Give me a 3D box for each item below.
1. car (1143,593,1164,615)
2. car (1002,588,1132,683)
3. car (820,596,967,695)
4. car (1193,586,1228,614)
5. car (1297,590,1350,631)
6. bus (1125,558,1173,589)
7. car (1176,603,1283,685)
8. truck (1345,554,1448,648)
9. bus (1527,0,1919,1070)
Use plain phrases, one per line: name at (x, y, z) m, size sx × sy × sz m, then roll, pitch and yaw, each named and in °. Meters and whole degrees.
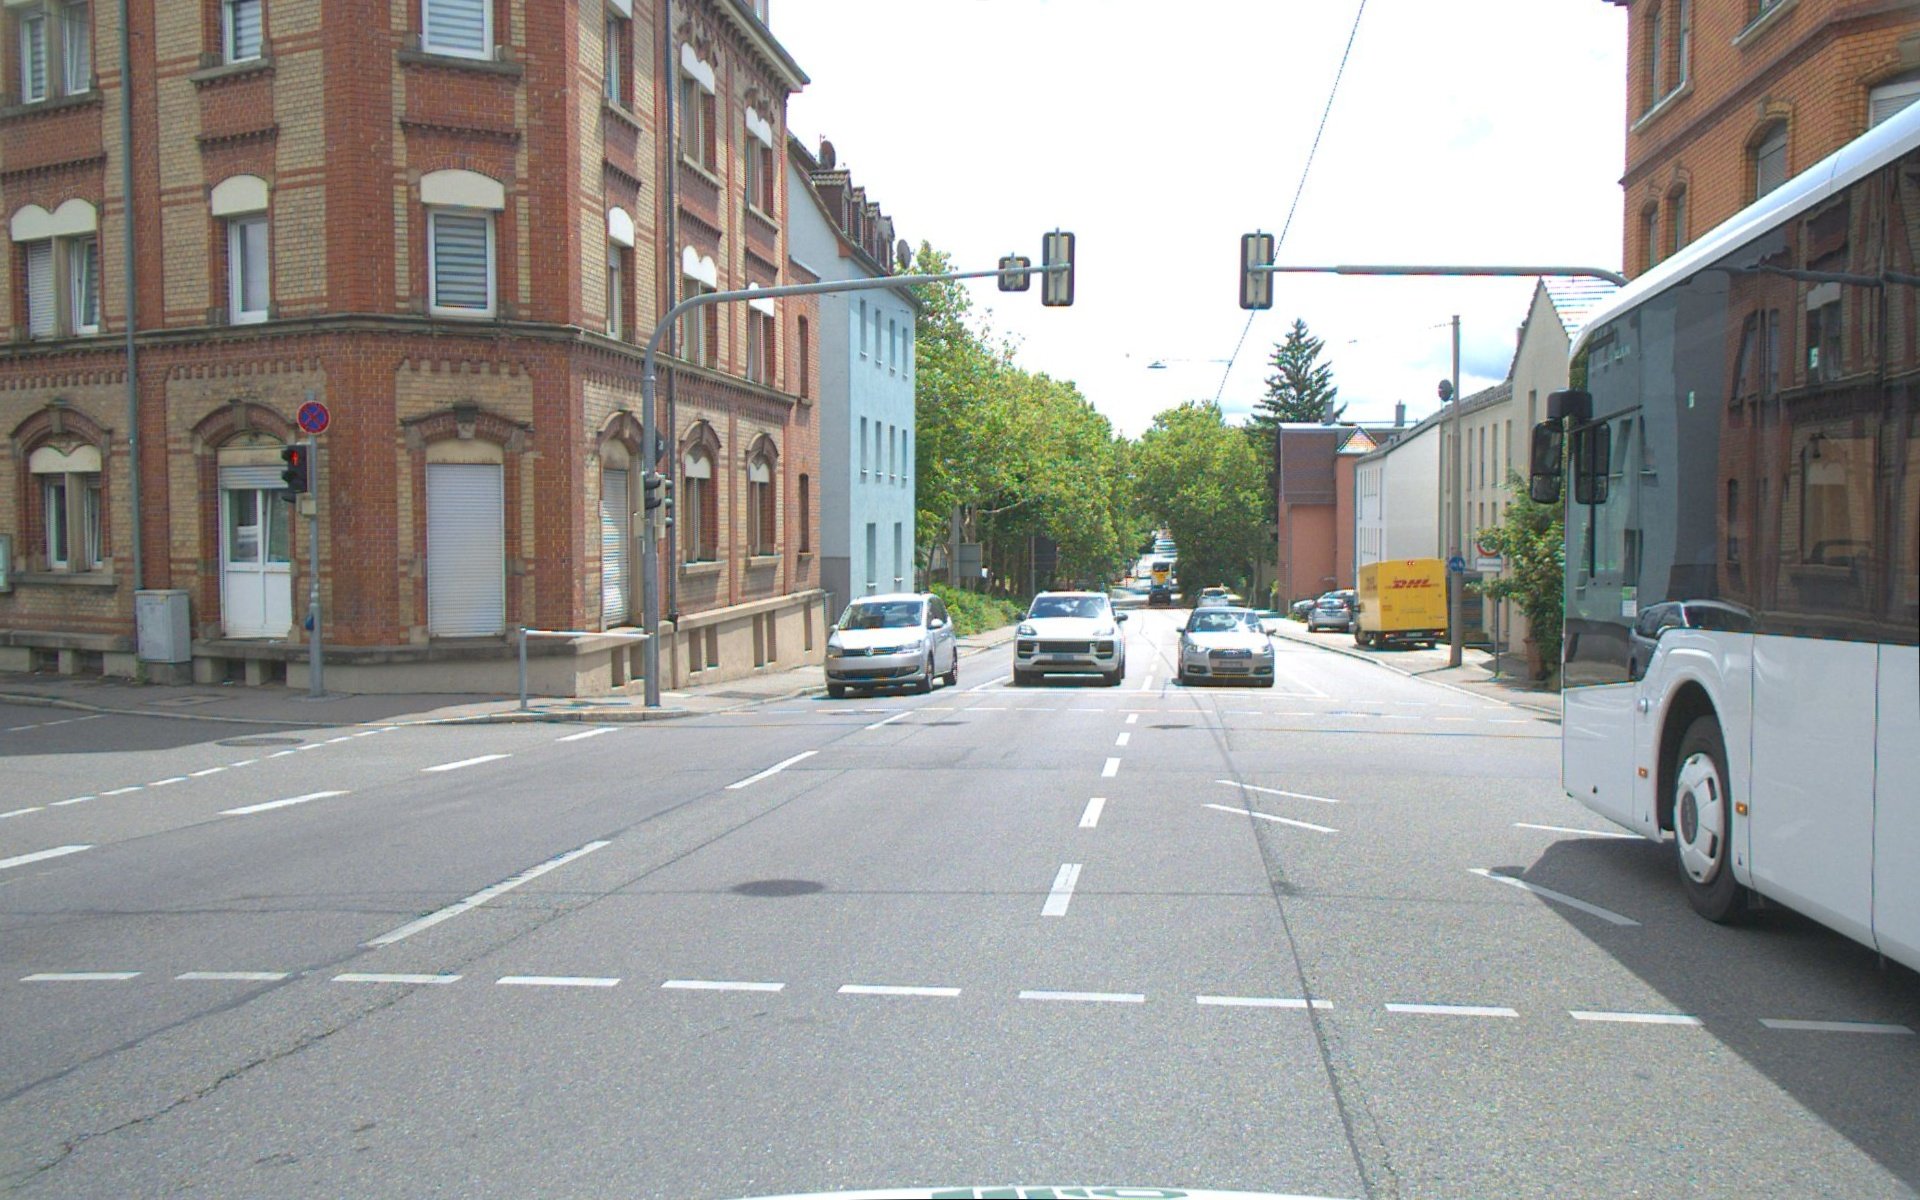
car at (16.531, 0.344, 141.272) m, size 1.781 × 1.816 × 4.003 m, roll 0°, pitch 0°, yaw 7°
car at (2.108, 0.615, 31.296) m, size 2.160 × 1.641 × 4.550 m, roll 0°, pitch 0°, yaw 7°
car at (-1.076, 0.734, 29.069) m, size 1.894 × 1.590 × 4.392 m, roll 0°, pitch 0°, yaw 7°
car at (17.152, -0.002, 113.577) m, size 2.048 × 1.862 × 4.145 m, roll 0°, pitch 0°, yaw 4°
car at (16.844, 0.461, 76.763) m, size 1.870 × 1.848 × 4.002 m, roll 0°, pitch 0°, yaw 5°
bus at (23.053, -3.218, 202.480) m, size 3.238 × 3.694 × 11.226 m, roll -1°, pitch 0°, yaw -7°
car at (5.043, 0.784, 31.389) m, size 1.825 × 1.391 × 4.550 m, roll 0°, pitch 0°, yaw 7°
truck at (14.683, 0.029, 56.042) m, size 2.487 × 2.964 × 6.577 m, roll 1°, pitch 0°, yaw 7°
bus at (4.312, -0.312, 4.254) m, size 2.843 × 3.571 × 12.497 m, roll 1°, pitch 0°, yaw 7°
